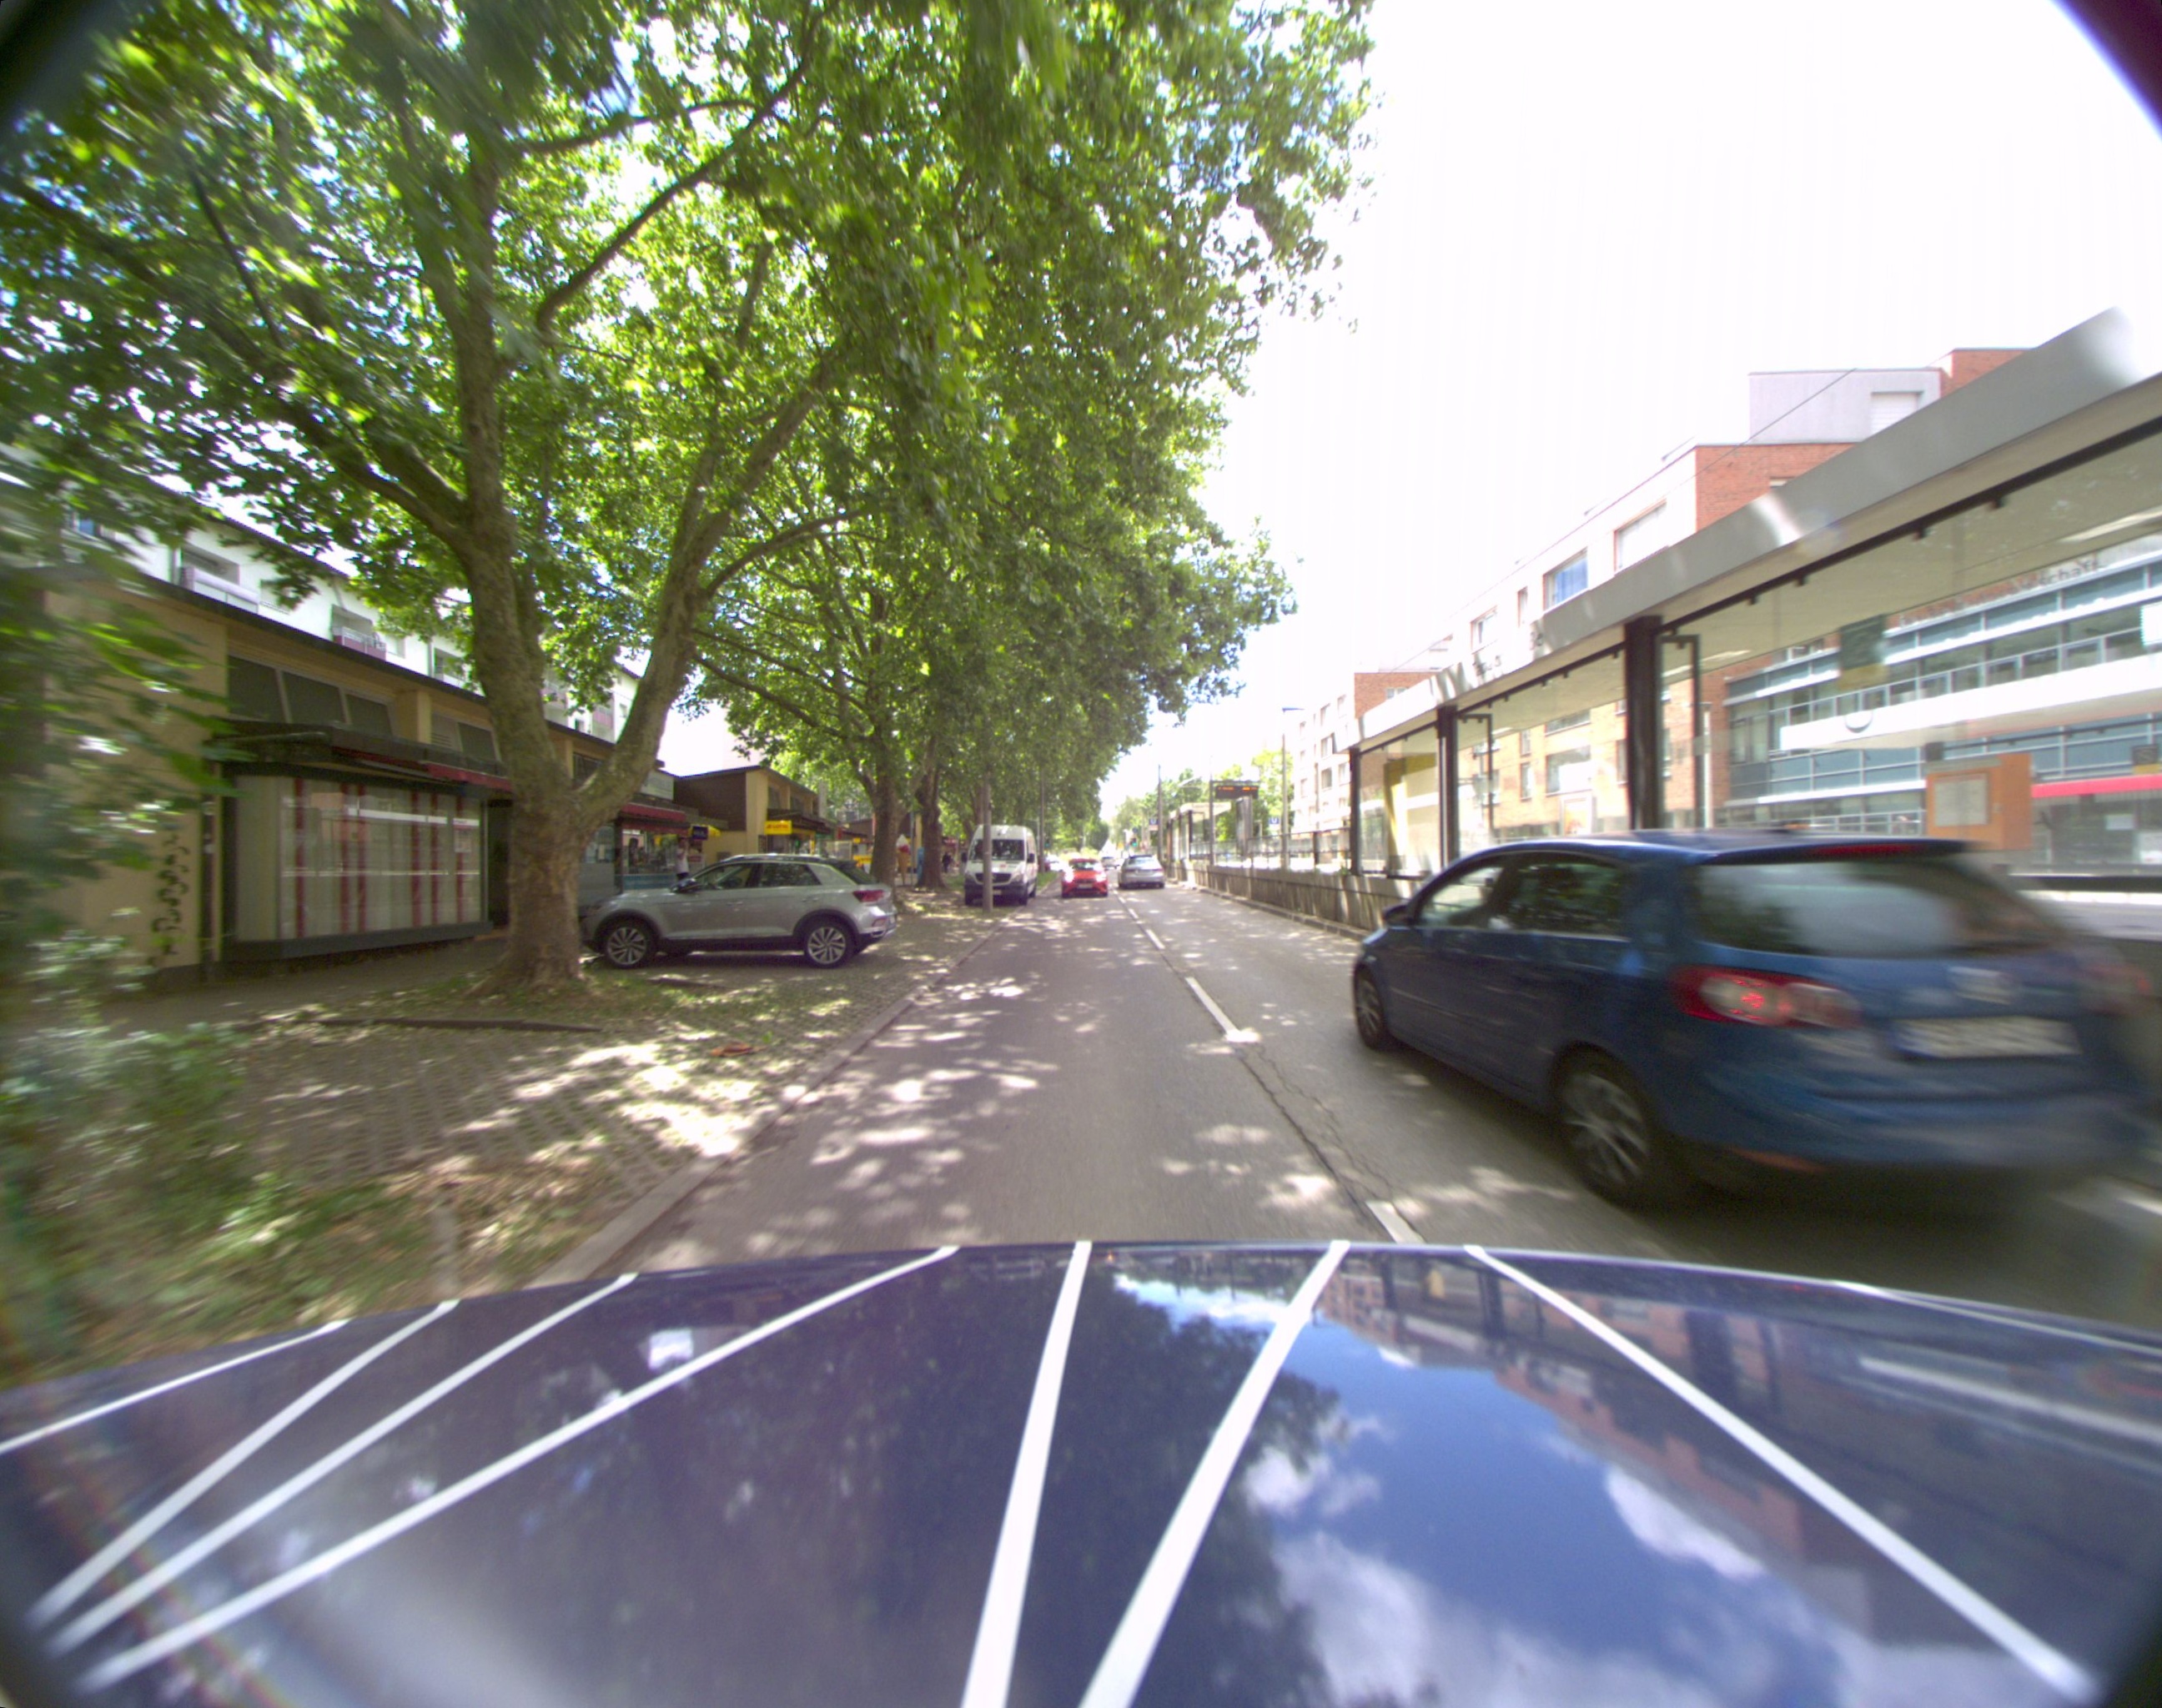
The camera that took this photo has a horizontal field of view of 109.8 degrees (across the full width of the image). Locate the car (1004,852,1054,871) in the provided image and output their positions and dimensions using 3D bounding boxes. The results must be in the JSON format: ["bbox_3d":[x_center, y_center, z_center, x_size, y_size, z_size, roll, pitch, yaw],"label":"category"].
[{"bbox_3d":[-4.457,0.628,65.219,4.038,1.602,1.731,-1,0,3],"label":"car"}]

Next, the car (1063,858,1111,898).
[{"bbox_3d":[0.242,0.899,30.041,1.712,1.439,3.670,-2,0,0],"label":"car"}]

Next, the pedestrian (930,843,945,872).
[{"bbox_3d":[-9.310,0.223,49.280,0.745,1.872,0.941,1,1,0],"label":"pedestrian"}]

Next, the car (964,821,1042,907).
[{"bbox_3d":[-2.538,0.287,26.393,1.909,2.566,6.833,1,0,0],"label":"car"}]

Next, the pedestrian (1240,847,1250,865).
[{"bbox_3d":[16.215,0.182,75.097,0.745,1.814,0.828,0,0,-1],"label":"pedestrian"}]

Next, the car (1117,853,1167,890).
[{"bbox_3d":[2.671,0.722,34.194,1.767,1.472,4.576,-3,0,0],"label":"car"}]

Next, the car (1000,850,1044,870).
[{"bbox_3d":[-4.694,0.486,60.810,3.416,1.506,1.609,-1,0,-4],"label":"car"}]

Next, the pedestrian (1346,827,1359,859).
[{"bbox_3d":[14.864,-0.617,41.626,0.535,1.753,0.528,0,1,-3],"label":"pedestrian"}]

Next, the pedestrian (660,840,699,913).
[{"bbox_3d":[-10.124,0.544,19.166,0.923,1.791,0.607,2,2,45],"label":"pedestrian"}]

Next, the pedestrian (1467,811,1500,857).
[{"bbox_3d":[14.573,-0.717,27.528,0.753,1.619,0.815,-2,1,0],"label":"pedestrian"}]

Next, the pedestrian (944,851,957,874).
[{"bbox_3d":[-8.286,0.511,48.364,0.627,1.439,1.028,-1,0,0],"label":"pedestrian"}]

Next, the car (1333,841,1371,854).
[{"bbox_3d":[29.109,-0.669,81.636,3.541,1.391,1.594,0,0,-2],"label":"car"}]

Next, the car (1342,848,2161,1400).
[{"bbox_3d":[2.940,0.775,4.135,1.700,1.555,3.860,-1,1,0],"label":"car"}]

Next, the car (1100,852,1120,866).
[{"bbox_3d":[2.938,0.484,78.003,1.736,1.388,3.751,-2,0,-1],"label":"car"}]

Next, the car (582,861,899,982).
[{"bbox_3d":[-4.680,0.903,10.921,3.841,1.553,1.619,0,1,-6],"label":"car"}]

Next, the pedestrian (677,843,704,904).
[{"bbox_3d":[-11.625,0.557,22.615,0.519,1.783,0.534,-1,1,-10],"label":"pedestrian"}]

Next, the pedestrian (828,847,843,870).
[{"bbox_3d":[-16.264,0.280,50.346,0.752,1.526,0.907,-1,1,-7],"label":"pedestrian"}]
